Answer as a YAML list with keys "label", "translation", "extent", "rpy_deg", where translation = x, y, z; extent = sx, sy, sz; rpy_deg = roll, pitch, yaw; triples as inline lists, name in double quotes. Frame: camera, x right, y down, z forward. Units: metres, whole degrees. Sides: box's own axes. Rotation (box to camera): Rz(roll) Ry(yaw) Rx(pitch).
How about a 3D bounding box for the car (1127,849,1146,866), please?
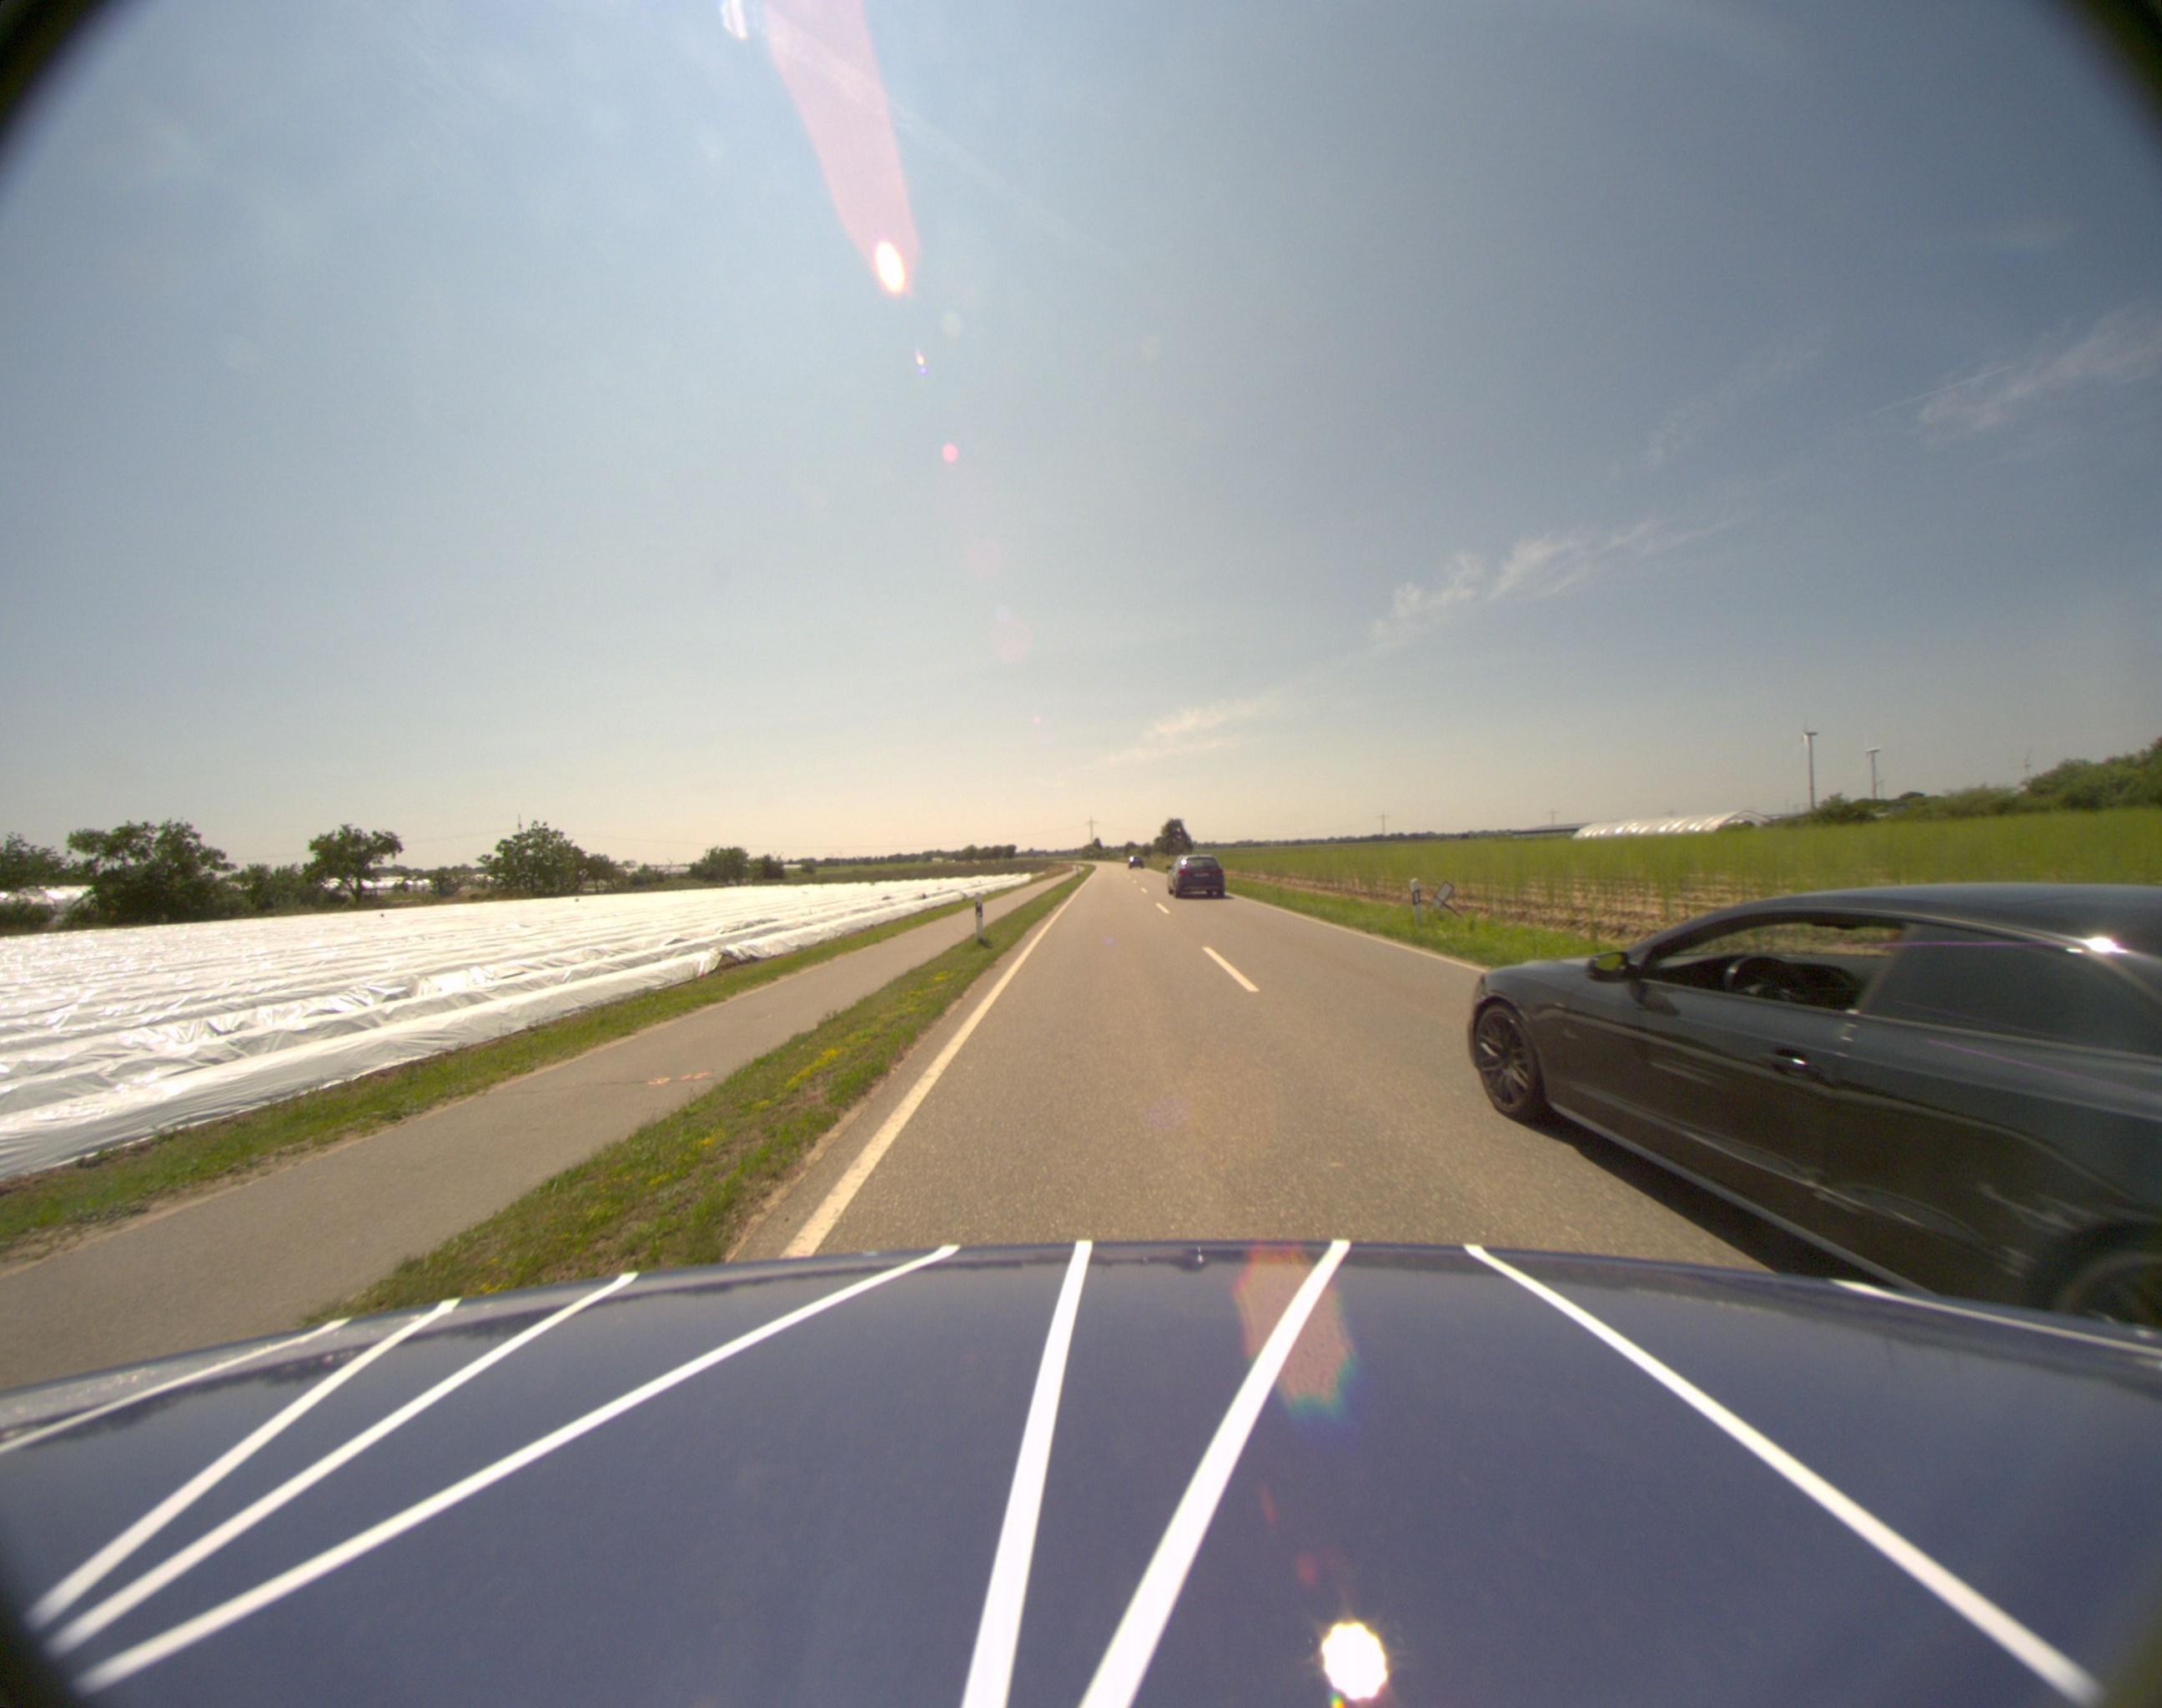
- label: "car"
  translation: [6.800, 0.420, 93.319]
  extent: [1.998, 2.002, 4.000]
  rpy_deg: [-2, 1, 2]

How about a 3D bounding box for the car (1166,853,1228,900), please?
- label: "car"
  translation: [4.212, 0.784, 28.240]
  extent: [1.744, 1.523, 4.142]
  rpy_deg: [-2, 1, 2]

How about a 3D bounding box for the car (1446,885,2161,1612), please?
- label: "car"
  translation: [3.123, 0.890, 2.472]
  extent: [1.746, 1.349, 4.418]
  rpy_deg: [-2, 0, 0]
